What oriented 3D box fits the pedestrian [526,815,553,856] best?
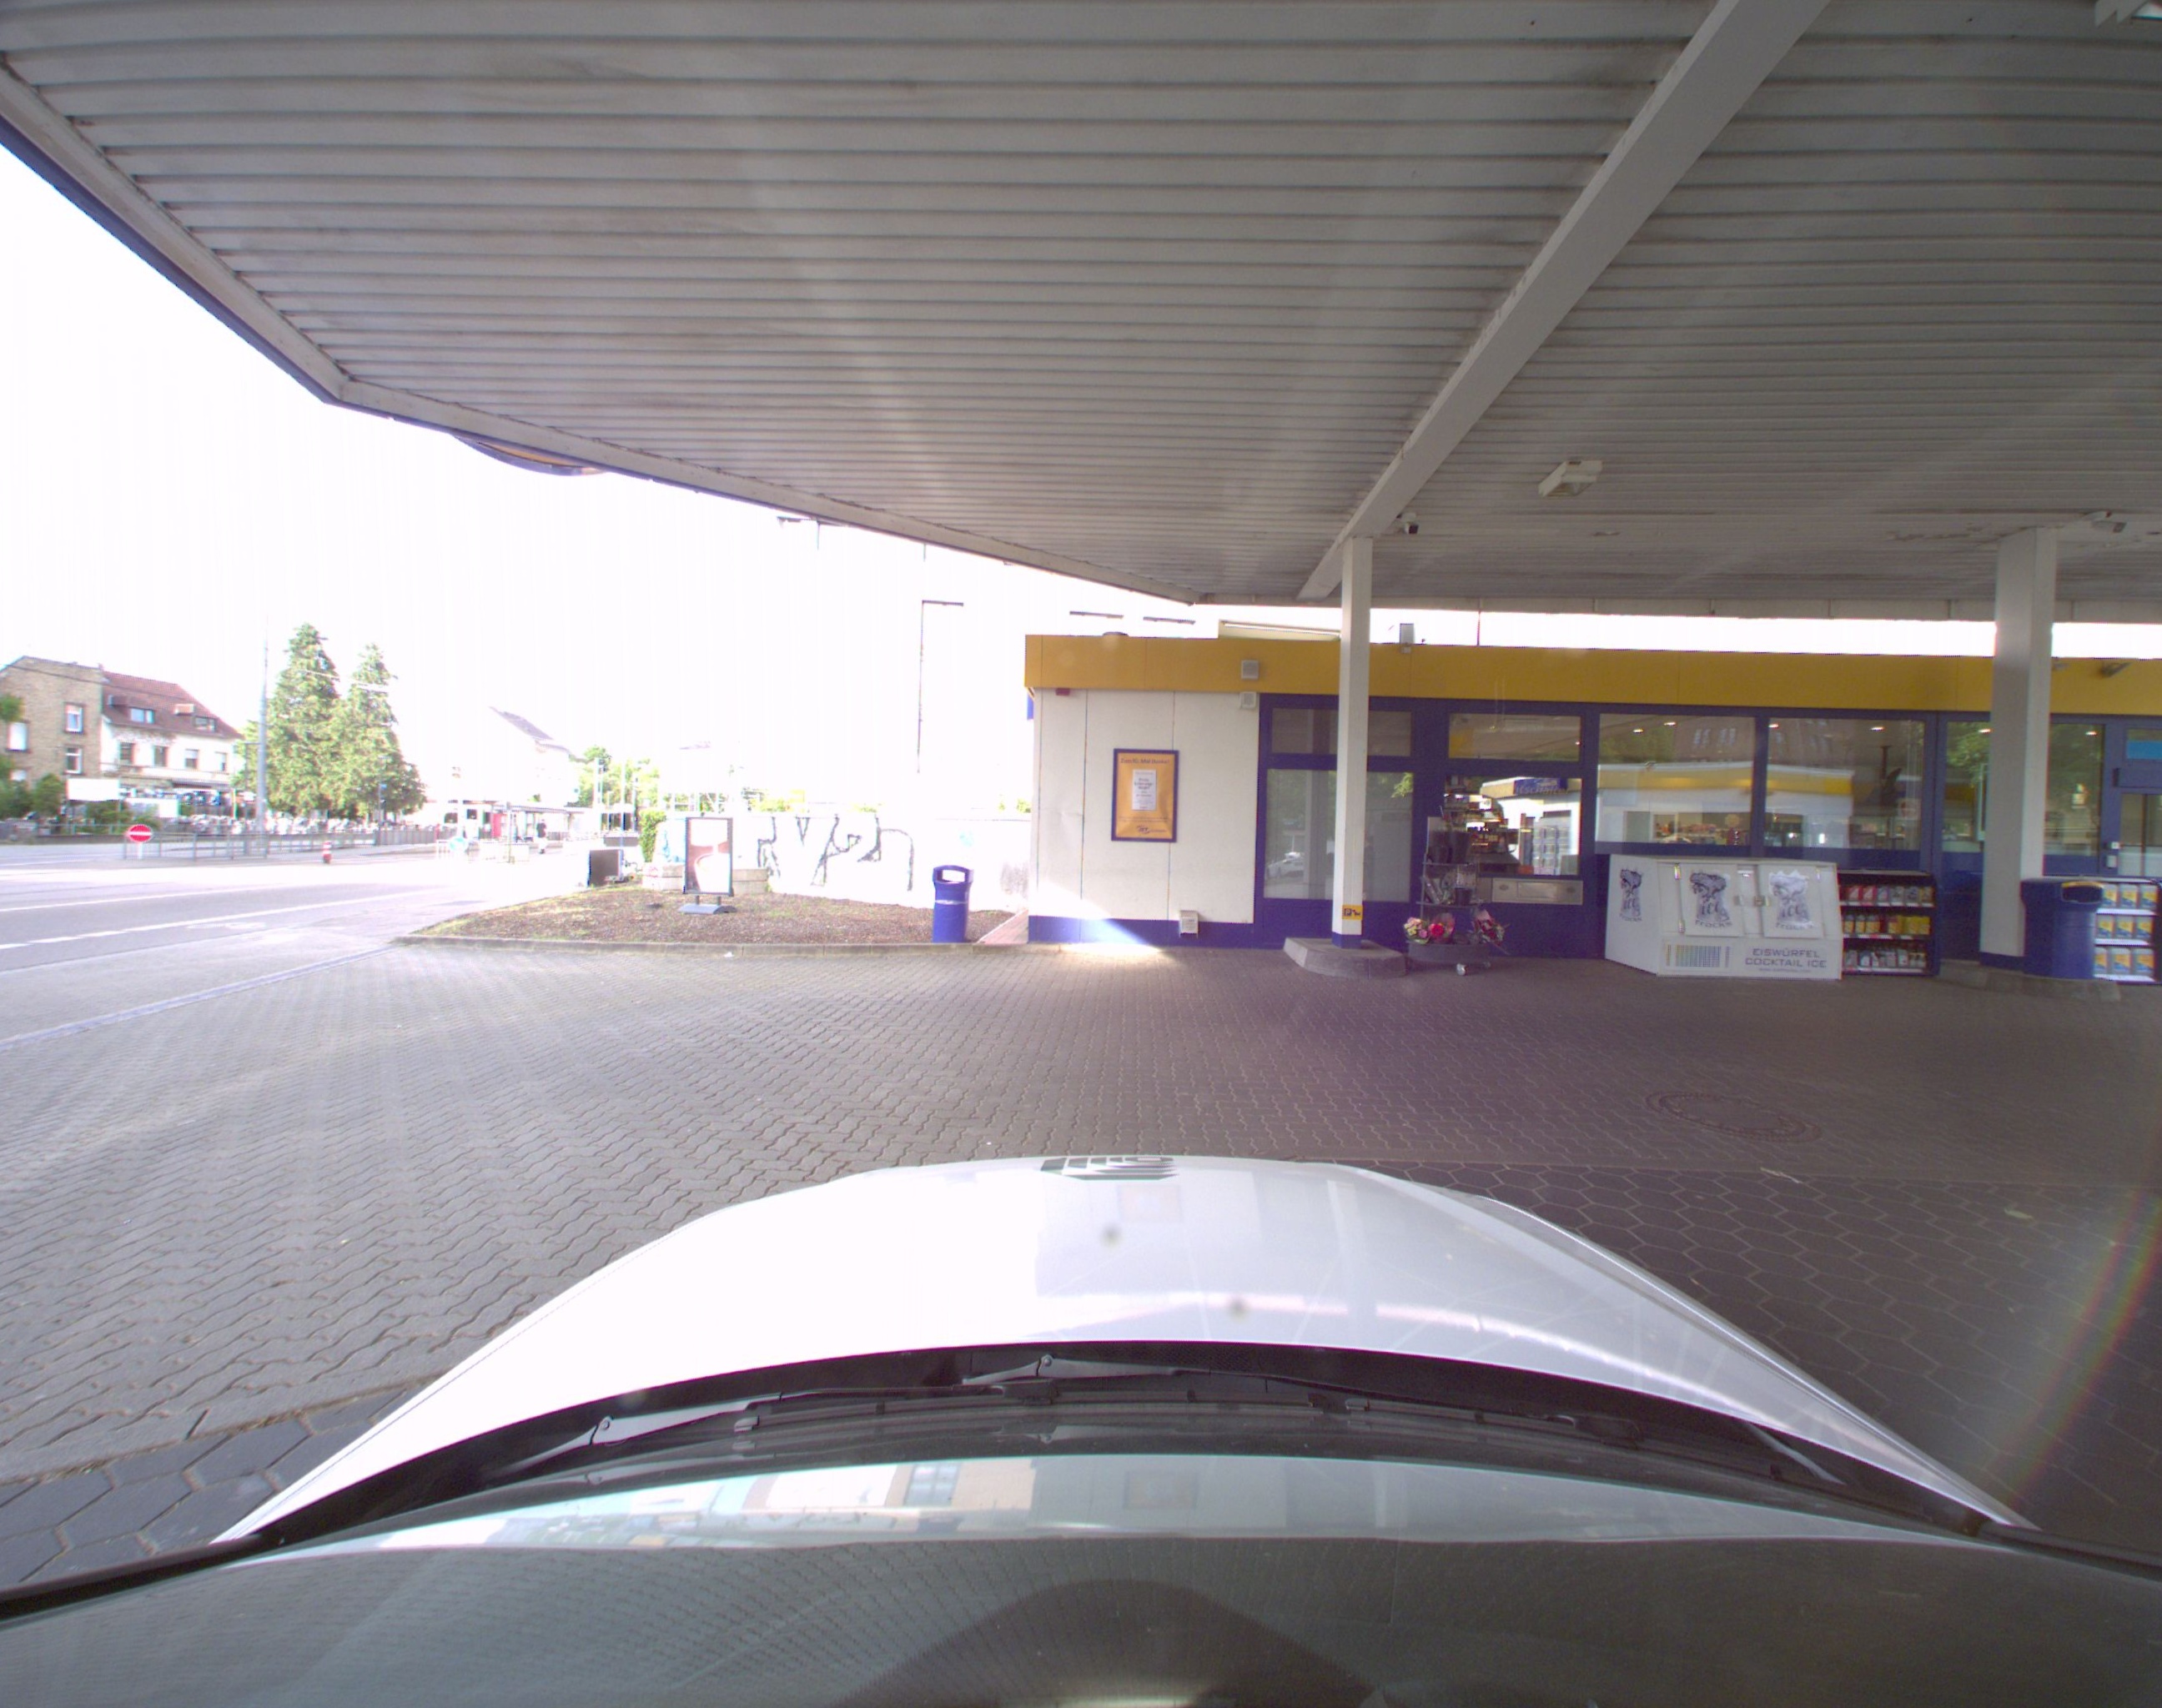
[{"bbox_3d":[-27.204,-0.926,40.902,0.804,2.014,0.849,0,-1,-3],"label":"pedestrian"}]
